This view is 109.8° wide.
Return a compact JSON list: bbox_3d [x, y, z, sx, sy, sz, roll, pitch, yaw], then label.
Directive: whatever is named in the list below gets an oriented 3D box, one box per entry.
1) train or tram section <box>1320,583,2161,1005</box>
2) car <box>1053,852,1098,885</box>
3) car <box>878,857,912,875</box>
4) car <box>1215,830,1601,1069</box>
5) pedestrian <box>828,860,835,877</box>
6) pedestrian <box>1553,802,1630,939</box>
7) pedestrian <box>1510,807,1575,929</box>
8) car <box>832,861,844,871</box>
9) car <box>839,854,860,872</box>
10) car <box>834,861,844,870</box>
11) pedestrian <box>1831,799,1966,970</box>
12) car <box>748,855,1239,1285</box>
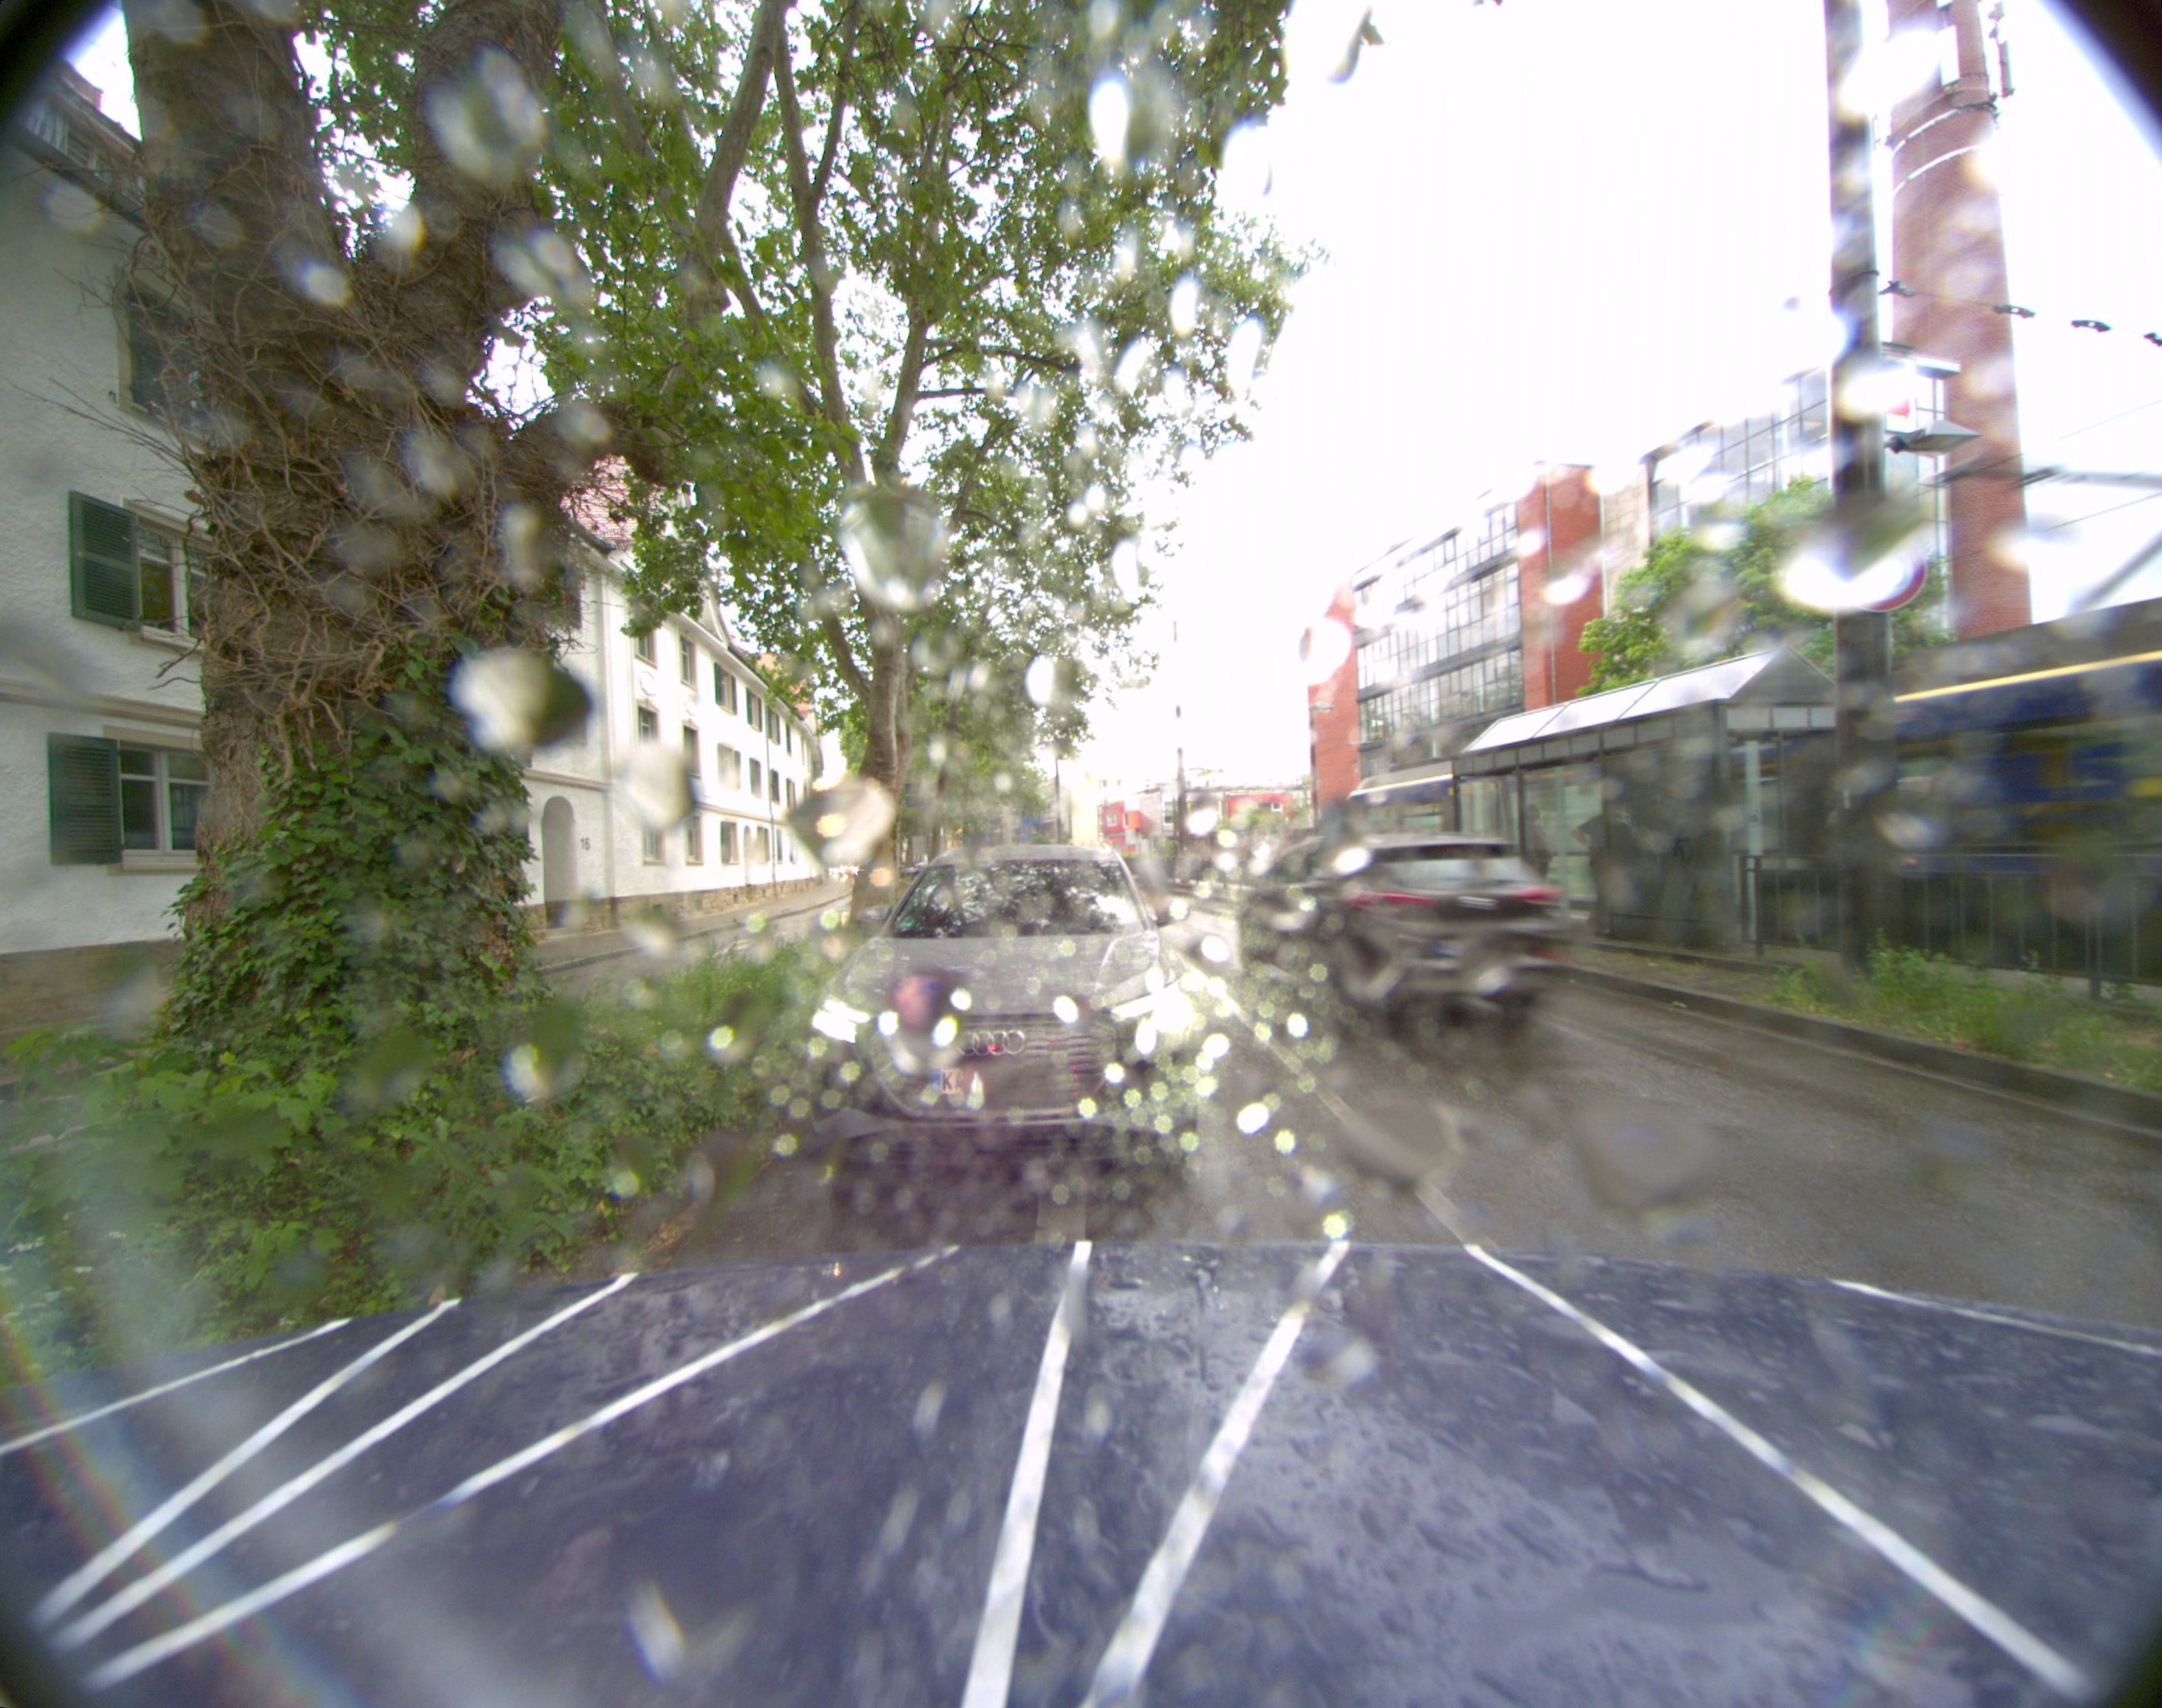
[{"bbox_3d":[9.356,-0.549,14.143,2.869,3.525,15.361,-2,0,-8],"label":"train or tram section"},{"bbox_3d":[-0.375,0.745,40.937,1.757,1.582,4.231,-3,0,-9],"label":"car"},{"bbox_3d":[-23.196,1.495,94.635,4.002,2.002,1.997,-2,0,-17],"label":"car"},{"bbox_3d":[2.823,0.705,7.887,1.808,1.673,4.602,-3,0,-2],"label":"car"},{"bbox_3d":[-27.632,1.563,84.134,0.674,1.811,0.678,-3,1,-18],"label":"pedestrian"},{"bbox_3d":[6.739,0.216,10.058,0.629,1.738,0.564,-2,1,9],"label":"pedestrian"},{"bbox_3d":[6.753,0.200,11.135,0.629,1.738,0.514,-2,1,9],"label":"pedestrian"},{"bbox_3d":[-40.637,2.002,127.022,1.834,1.517,3.993,-3,1,-19],"label":"car"},{"bbox_3d":[-32.687,1.275,107.232,2.199,2.250,5.401,-3,0,-24],"label":"car"},{"bbox_3d":[-57.614,2.650,181.214,2.002,2.001,3.993,3,-1,-20],"label":"car"},{"bbox_3d":[7.913,0.293,7.370,0.798,1.588,0.506,0,-2,-10],"label":"pedestrian"},{"bbox_3d":[-0.406,0.871,5.133,1.917,1.632,4.106,-2,0,-2],"label":"car"}]
